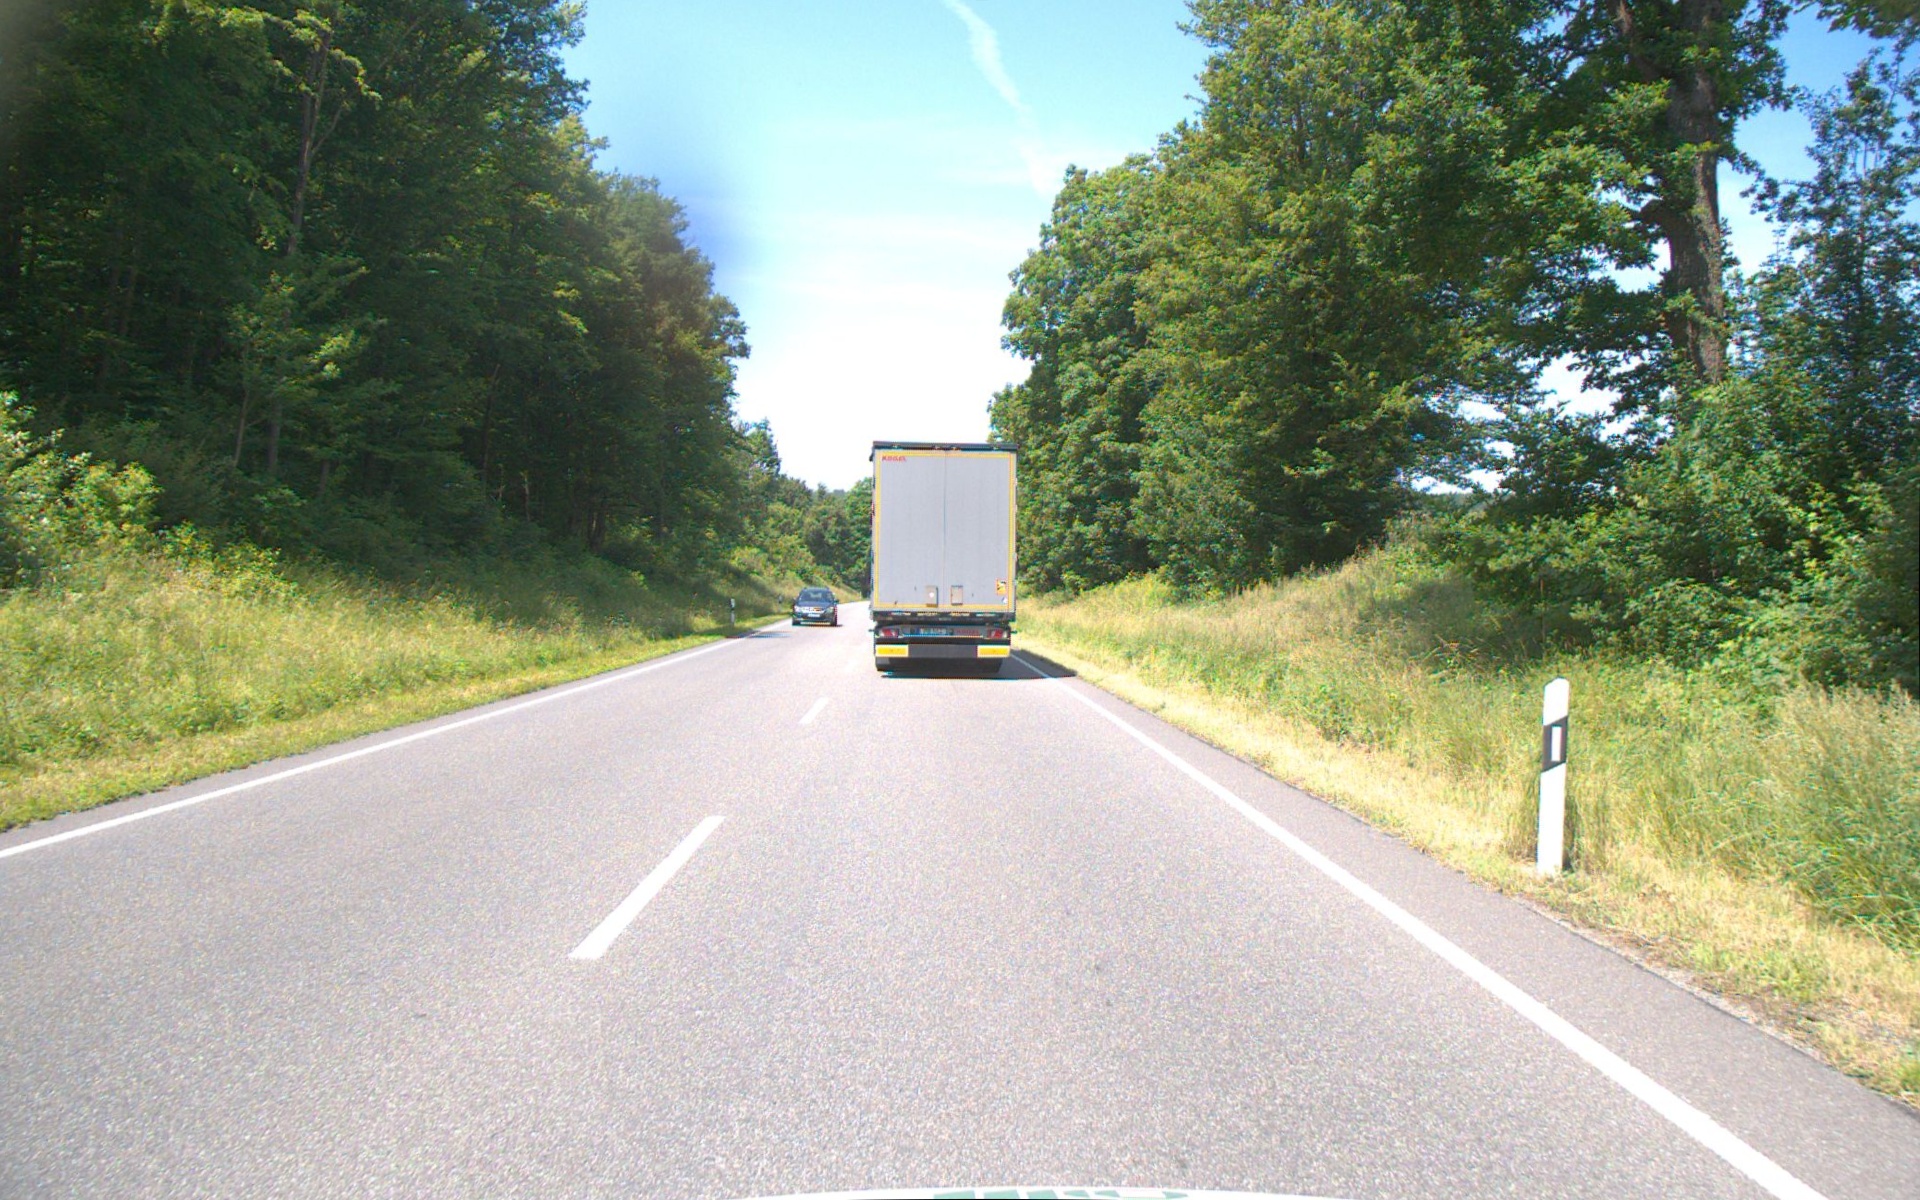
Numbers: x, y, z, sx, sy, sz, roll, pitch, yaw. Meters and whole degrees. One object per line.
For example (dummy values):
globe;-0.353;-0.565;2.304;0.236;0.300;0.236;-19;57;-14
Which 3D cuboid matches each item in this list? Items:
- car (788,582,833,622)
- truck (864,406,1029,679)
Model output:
car;-6.170;0.065;68.533;1.736;1.597;4.214;1;0;-4
truck;-0.481;-1.015;34.077;2.761;4.612;11.762;1;0;-3
